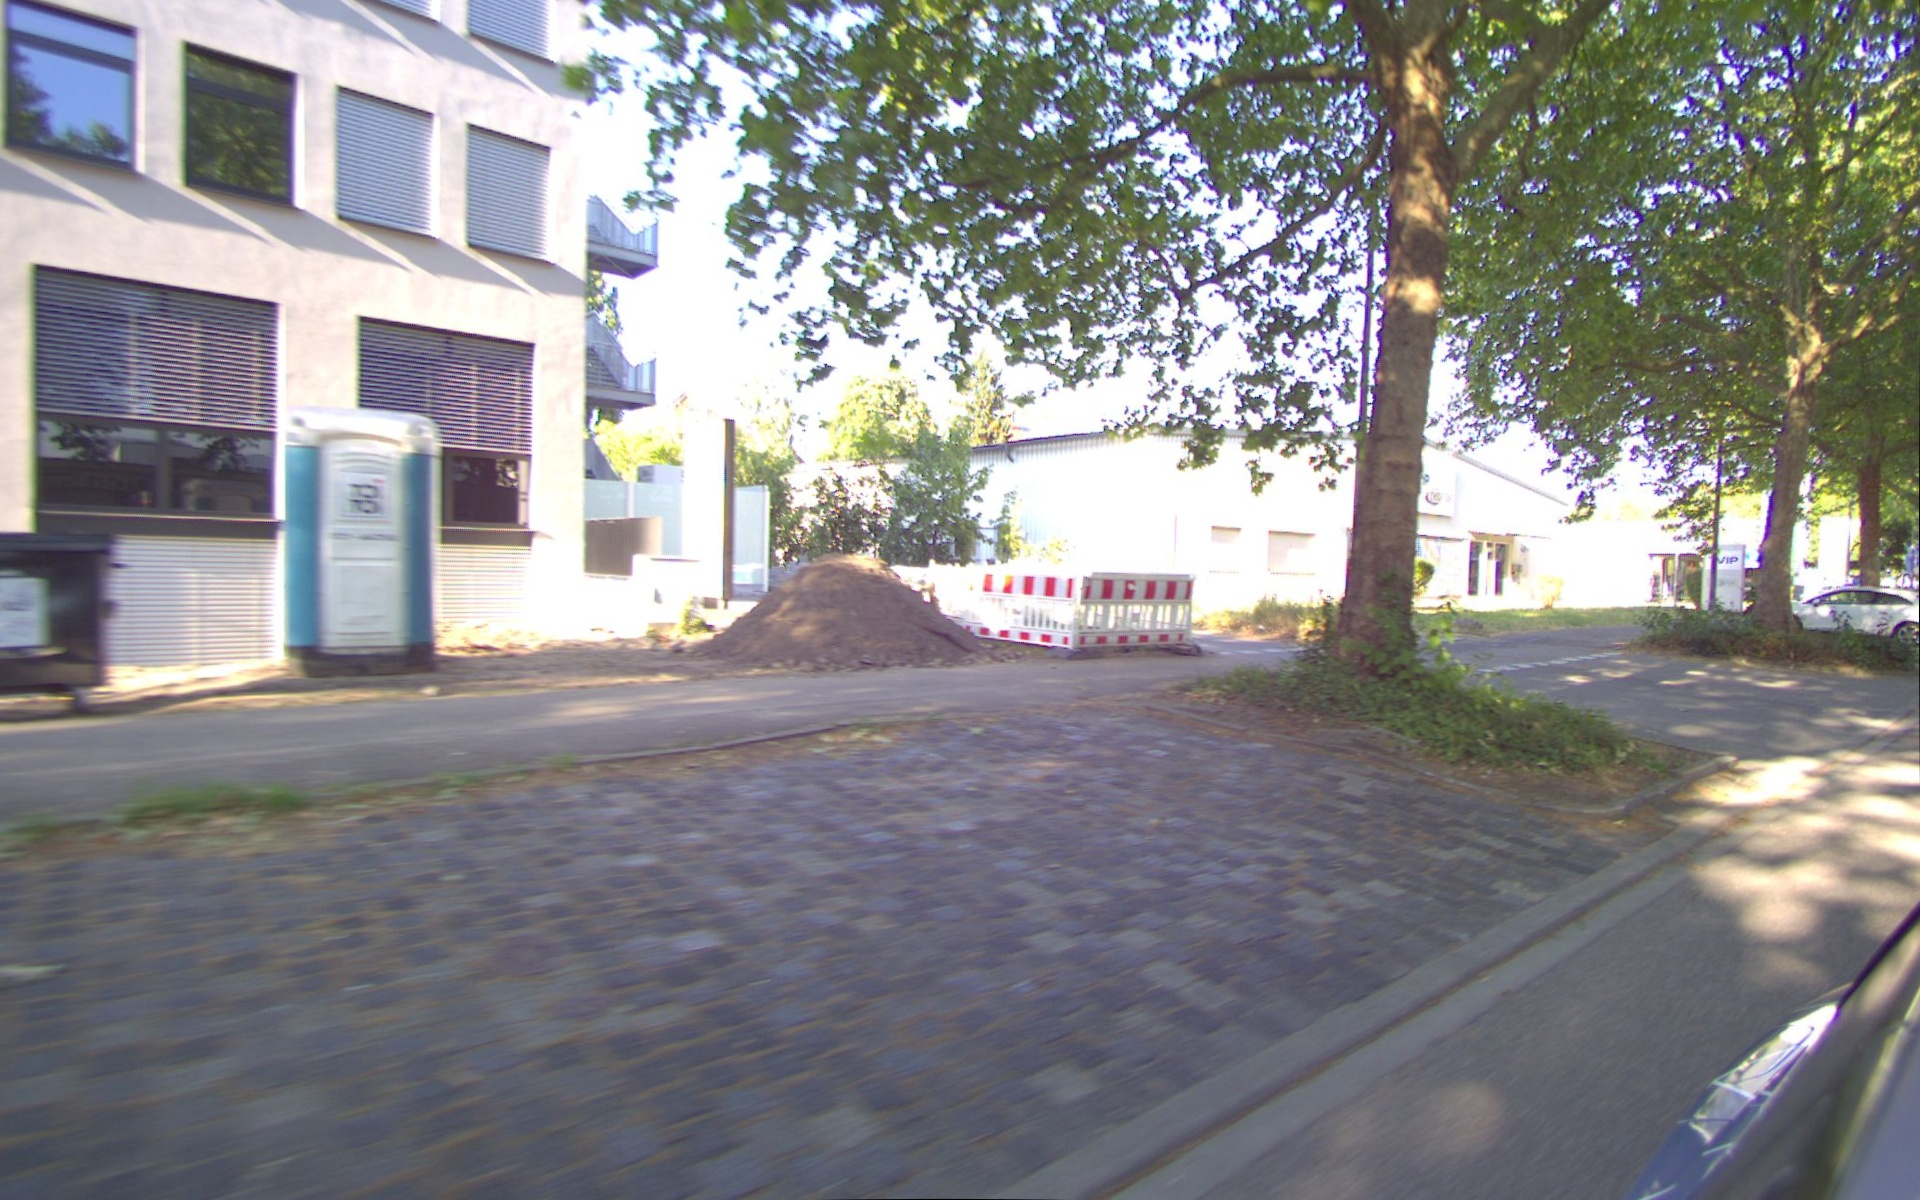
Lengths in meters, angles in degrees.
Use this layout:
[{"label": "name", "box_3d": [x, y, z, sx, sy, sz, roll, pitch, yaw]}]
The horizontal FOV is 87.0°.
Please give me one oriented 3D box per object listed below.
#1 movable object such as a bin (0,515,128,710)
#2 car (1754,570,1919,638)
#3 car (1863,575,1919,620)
[{"label": "movable object such as a bin", "box_3d": [-6.662, 0.086, 6.832, 1.583, 1.279, 0.749, -2, 1, -41]}, {"label": "car", "box_3d": [23.659, 0.077, 26.719, 1.638, 1.531, 3.943, -2, 5, -40]}, {"label": "car", "box_3d": [34.144, -0.012, 34.858, 4.395, 1.435, 1.968, 6, 5, 45]}]
